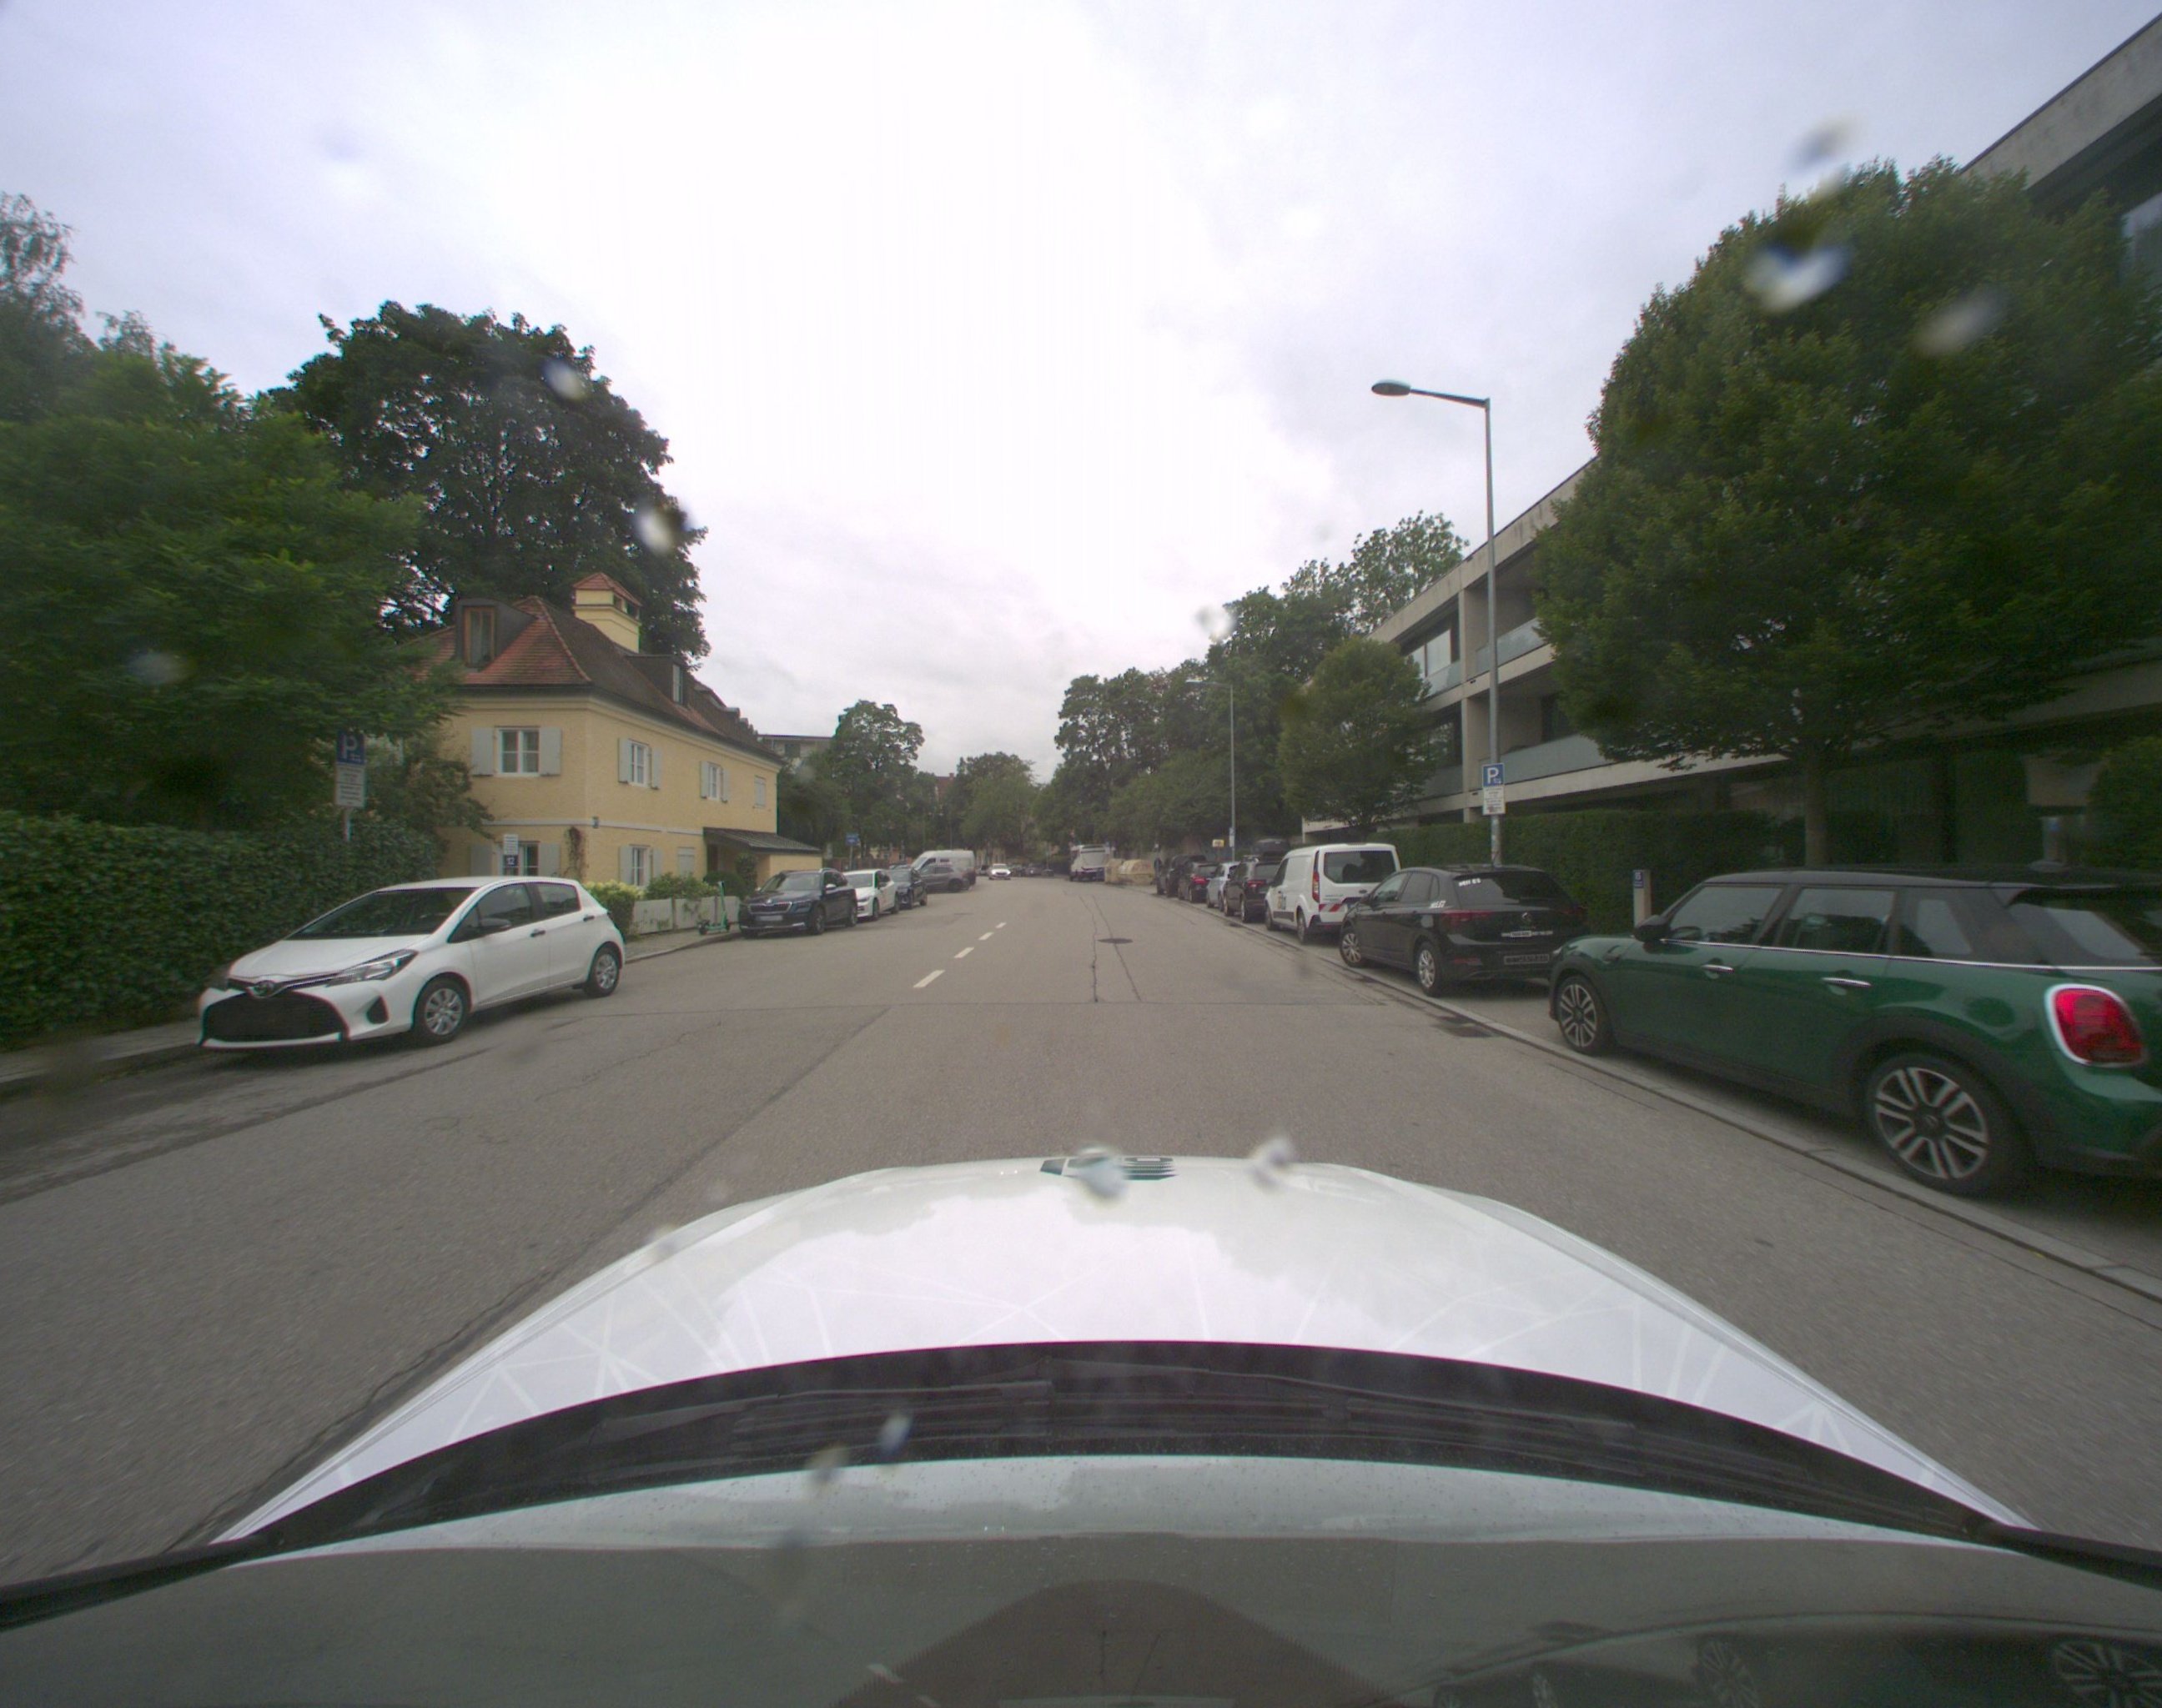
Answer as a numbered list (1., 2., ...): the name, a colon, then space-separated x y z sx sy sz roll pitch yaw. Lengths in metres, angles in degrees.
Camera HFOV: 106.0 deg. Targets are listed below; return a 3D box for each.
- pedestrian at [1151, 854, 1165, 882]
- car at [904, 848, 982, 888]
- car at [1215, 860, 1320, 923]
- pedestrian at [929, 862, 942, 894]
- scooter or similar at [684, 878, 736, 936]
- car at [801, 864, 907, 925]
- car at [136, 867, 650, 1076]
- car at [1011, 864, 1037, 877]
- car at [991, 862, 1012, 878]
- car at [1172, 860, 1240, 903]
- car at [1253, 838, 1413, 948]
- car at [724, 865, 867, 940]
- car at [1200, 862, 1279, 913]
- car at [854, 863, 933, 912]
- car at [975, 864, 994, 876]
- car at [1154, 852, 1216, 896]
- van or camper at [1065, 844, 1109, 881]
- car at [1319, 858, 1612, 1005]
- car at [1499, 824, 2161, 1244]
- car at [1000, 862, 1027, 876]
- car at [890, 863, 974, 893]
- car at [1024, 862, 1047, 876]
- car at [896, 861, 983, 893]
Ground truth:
1. pedestrian: 5.331 0.965 56.379 0.798 1.985 0.627 0 -1 -18
2. car: -9.293 0.917 54.952 4.655 2.563 2.211 -1 0 -34
3. car: 4.780 0.901 21.499 1.742 1.480 4.597 0 0 0
4. pedestrian: -7.672 1.269 43.003 0.589 1.648 0.712 -3 0 -9
5. scooter or similar: -8.107 1.129 17.852 0.451 1.188 1.371 1 -1 1
6. car: -6.735 1.146 24.714 1.839 1.535 4.521 -3 0 0
7. car: -6.635 0.974 8.641 1.772 1.535 4.227 -3 0 0
8. car: -6.847 1.941 97.788 1.885 1.427 4.189 -2 0 -23
9. car: -7.271 1.443 74.296 1.770 1.475 4.124 0 -1 -6
10. car: 4.796 1.004 31.834 1.743 1.539 4.565 0 -1 -2
11. car: 4.827 0.679 16.350 1.816 1.860 4.899 1 0 1
12. car: -6.779 1.086 19.894 1.839 1.535 4.440 -3 -1 0
13. car: 4.989 1.001 26.115 1.742 1.480 3.887 -1 0 -1
14. car: -6.708 1.155 29.632 1.840 1.535 4.559 -3 0 -1
15. car: -13.693 2.239 115.767 1.713 1.537 4.211 -2 0 -20
16. car: 4.654 0.910 37.203 1.983 1.871 5.072 0 -1 -2
17. van or camper: 0.406 0.690 68.391 2.274 2.906 7.247 -1 -1 -11
18. car: 4.568 0.807 10.469 1.742 1.464 4.241 -1 0 0
19. car: 4.592 0.650 5.131 1.721 1.529 4.204 -2 0 0
20. car: -8.519 1.862 102.088 2.002 1.711 4.847 -2 0 -23
21. car: -8.098 1.297 44.102 4.337 1.530 1.924 -1 -2 -14
22. car: -5.259 1.754 93.997 1.746 1.536 2.923 -2 -1 -23
23. car: -8.120 1.308 46.867 4.545 1.594 1.944 -2 -1 -34
